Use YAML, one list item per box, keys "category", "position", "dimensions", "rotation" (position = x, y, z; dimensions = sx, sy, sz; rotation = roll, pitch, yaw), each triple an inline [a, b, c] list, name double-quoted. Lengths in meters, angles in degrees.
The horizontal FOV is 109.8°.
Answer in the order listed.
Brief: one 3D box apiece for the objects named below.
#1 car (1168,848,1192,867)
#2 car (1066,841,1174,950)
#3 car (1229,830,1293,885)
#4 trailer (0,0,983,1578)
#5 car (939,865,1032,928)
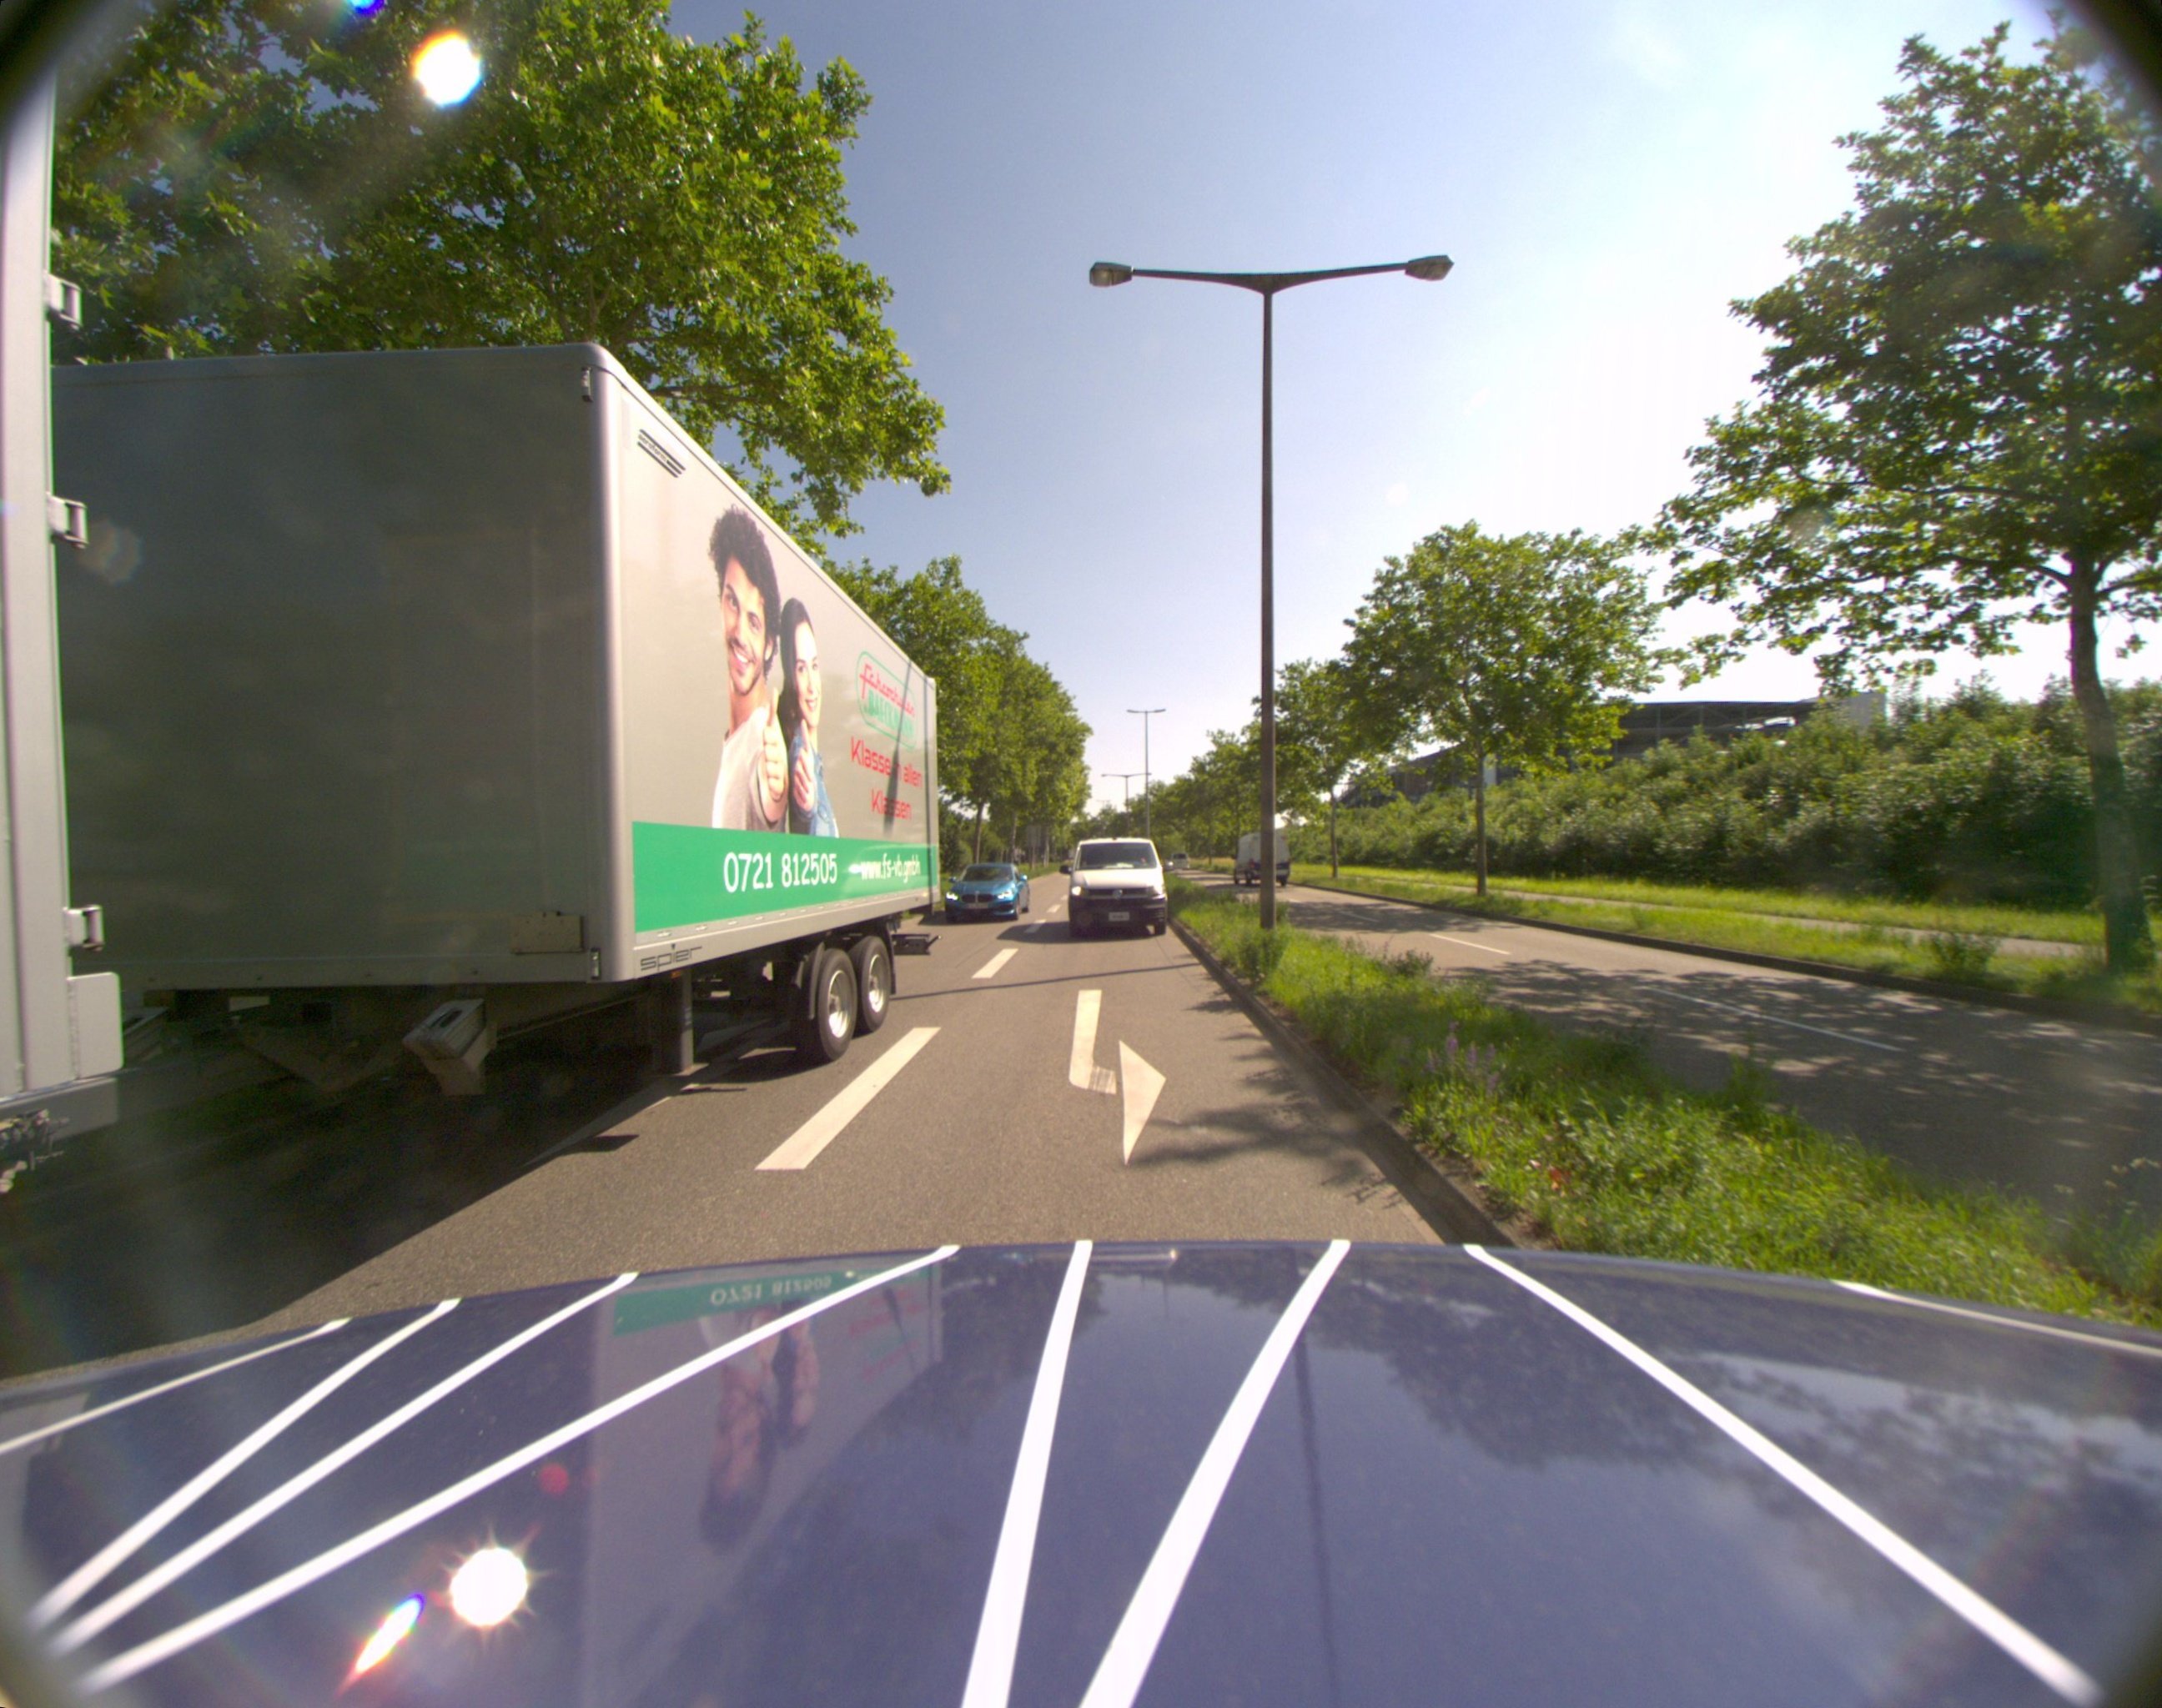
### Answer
- category: "car"
  position: [10.448, 0.388, 80.198]
  dimensions: [1.998, 1.887, 4.574]
  rotation: [1, 0, 1]
- category: "car"
  position: [0.709, 0.707, 15.725]
  dimensions: [1.872, 1.889, 4.881]
  rotation: [0, 0, 1]
- category: "car"
  position: [9.274, 0.163, 39.592]
  dimensions: [1.998, 2.647, 5.786]
  rotation: [1, 0, 1]
- category: "trailer"
  position: [-2.822, -0.171, 5.757]
  dimensions: [2.743, 3.854, 7.736]
  rotation: [-1, 1, 3]
- category: "car"
  position: [-2.410, 1.033, 20.119]
  dimensions: [1.872, 1.412, 4.130]
  rotation: [0, 0, 1]
